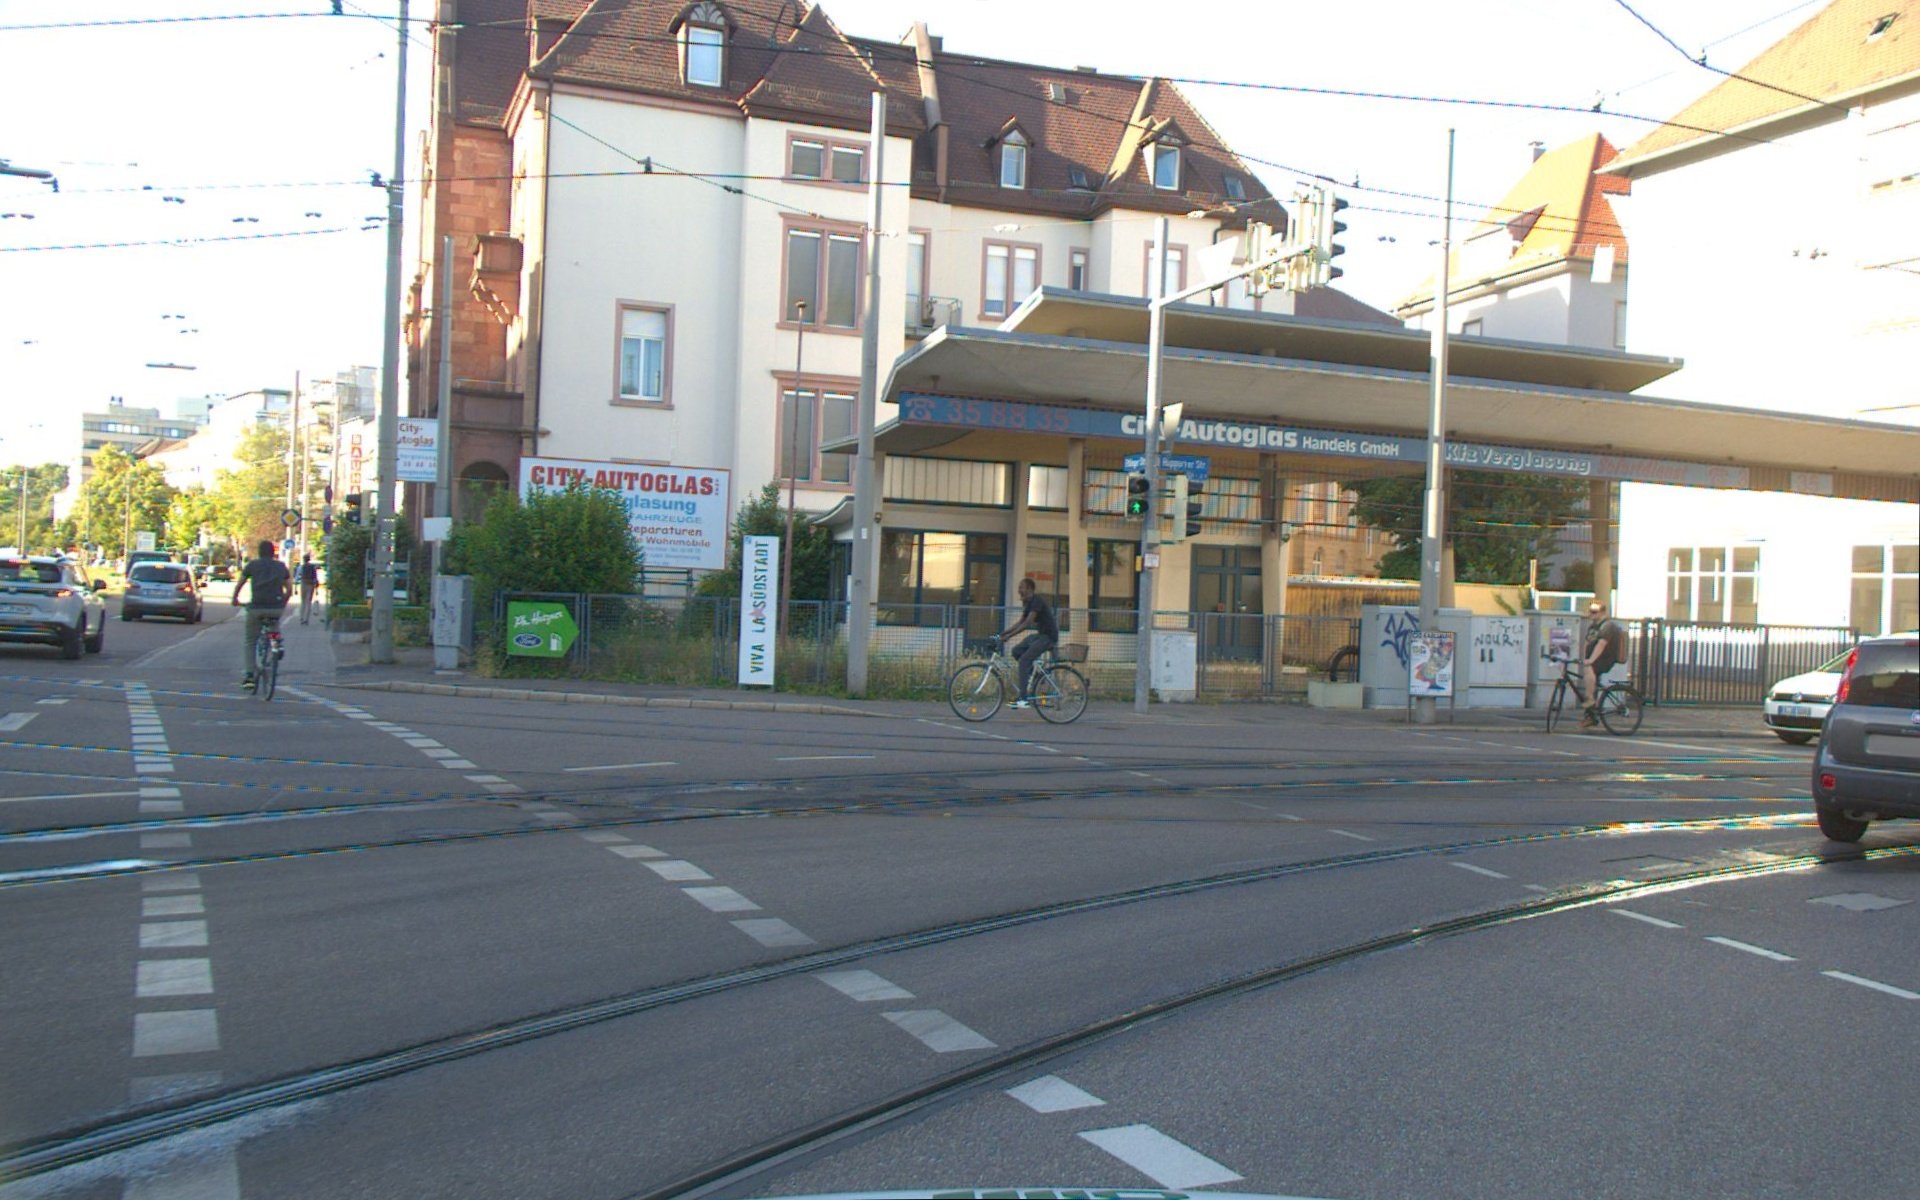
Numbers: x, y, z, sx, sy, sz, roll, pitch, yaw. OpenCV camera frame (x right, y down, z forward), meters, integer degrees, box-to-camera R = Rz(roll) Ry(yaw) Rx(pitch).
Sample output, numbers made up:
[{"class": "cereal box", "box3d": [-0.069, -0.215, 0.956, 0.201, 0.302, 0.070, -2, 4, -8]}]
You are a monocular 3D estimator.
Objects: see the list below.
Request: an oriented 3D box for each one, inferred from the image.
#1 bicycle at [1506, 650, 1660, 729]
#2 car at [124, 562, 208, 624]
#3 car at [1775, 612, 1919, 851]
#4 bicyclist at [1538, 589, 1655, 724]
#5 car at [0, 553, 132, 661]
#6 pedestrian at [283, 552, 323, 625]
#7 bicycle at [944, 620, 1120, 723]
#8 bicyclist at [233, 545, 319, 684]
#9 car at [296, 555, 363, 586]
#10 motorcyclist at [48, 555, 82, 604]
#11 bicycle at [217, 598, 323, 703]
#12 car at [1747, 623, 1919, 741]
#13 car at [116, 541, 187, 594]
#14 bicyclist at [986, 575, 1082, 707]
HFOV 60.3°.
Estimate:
[{"class": "bicycle", "box3d": [8.667, 1.246, 23.005, 2.011, 1.035, 0.723, 2, 0, -21]}, {"class": "car", "box3d": [-22.274, -0.210, 46.520, 1.788, 1.609, 3.975, 2, 0, -21]}, {"class": "car", "box3d": [7.779, 0.934, 12.087, 3.959, 1.526, 1.713, 2, 0, -38]}, {"class": "bicyclist", "box3d": [8.893, 0.781, 23.129, 1.233, 1.818, 0.904, 2, 0, -26]}, {"class": "car", "box3d": [-14.681, 0.062, 26.704, 1.920, 1.555, 4.063, 2, 0, -22]}, {"class": "pedestrian", "box3d": [-17.323, -0.311, 43.626, 0.862, 1.856, 1.177, 2, 0, -20]}, {"class": "bicycle", "box3d": [0.860, 0.867, 20.237, 2.018, 1.145, 0.895, 2, 0, -5]}, {"class": "bicyclist", "box3d": [-7.912, 0.164, 19.120, 0.823, 1.551, 0.986, 2, 0, -26]}, {"class": "car", "box3d": [-45.162, -2.085, 118.458, 4.214, 2.049, 1.980, 2, 0, -31]}, {"class": "motorcyclist", "box3d": [-27.082, -0.616, 50.073, 0.767, 1.448, 0.885, 2, 0, -23]}, {"class": "bicycle", "box3d": [-7.960, 0.560, 19.042, 0.764, 1.105, 1.849, 2, 0, -33]}, {"class": "car", "box3d": [13.060, 1.120, 22.645, 4.114, 1.483, 1.786, 2, -1, -20]}, {"class": "car", "box3d": [-33.342, -1.321, 68.343, 2.141, 2.044, 4.778, 2, 0, -21]}, {"class": "bicyclist", "box3d": [0.892, 0.484, 20.239, 1.027, 1.553, 0.878, 2, 0, -6]}]
